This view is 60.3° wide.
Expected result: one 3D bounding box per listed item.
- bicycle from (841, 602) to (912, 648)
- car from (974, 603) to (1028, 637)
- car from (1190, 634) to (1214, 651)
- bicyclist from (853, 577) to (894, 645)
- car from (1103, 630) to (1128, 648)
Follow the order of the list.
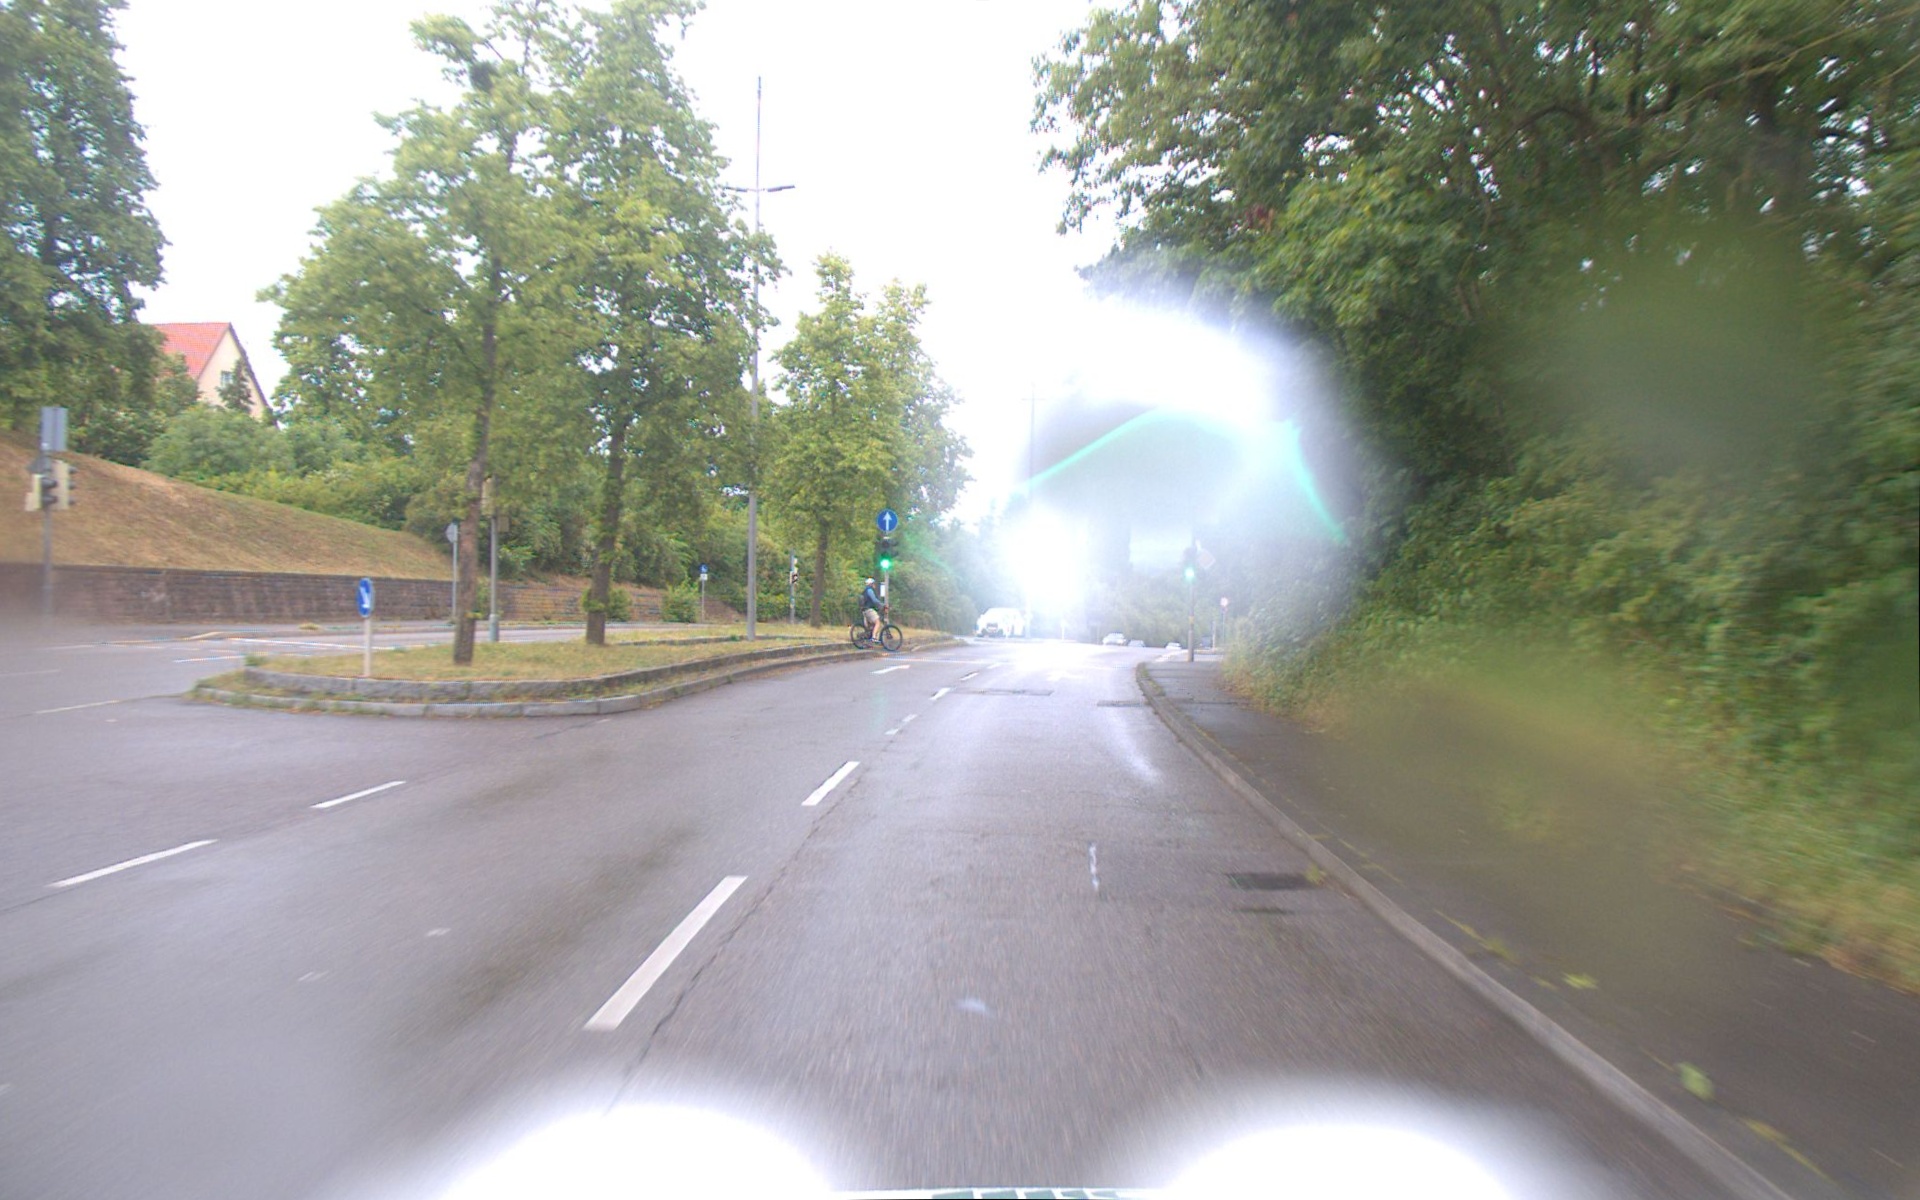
[{"bbox_3d":[-2.228,0.674,44.450,0.544,1.163,2.126,1,-1,42],"label":"bicycle"},{"bbox_3d":[2.291,1.120,90.675,1.904,1.664,5.008,2,-1,13],"label":"car"},{"bbox_3d":[24.644,4.336,168.304,1.904,1.619,3.929,2,-1,16],"label":"car"},{"bbox_3d":[-2.321,0.299,44.388,0.712,1.783,0.796,-2,-4,42],"label":"bicyclist"},{"bbox_3d":[14.062,3.529,149.768,1.740,1.498,4.648,2,-2,11],"label":"car"}]
